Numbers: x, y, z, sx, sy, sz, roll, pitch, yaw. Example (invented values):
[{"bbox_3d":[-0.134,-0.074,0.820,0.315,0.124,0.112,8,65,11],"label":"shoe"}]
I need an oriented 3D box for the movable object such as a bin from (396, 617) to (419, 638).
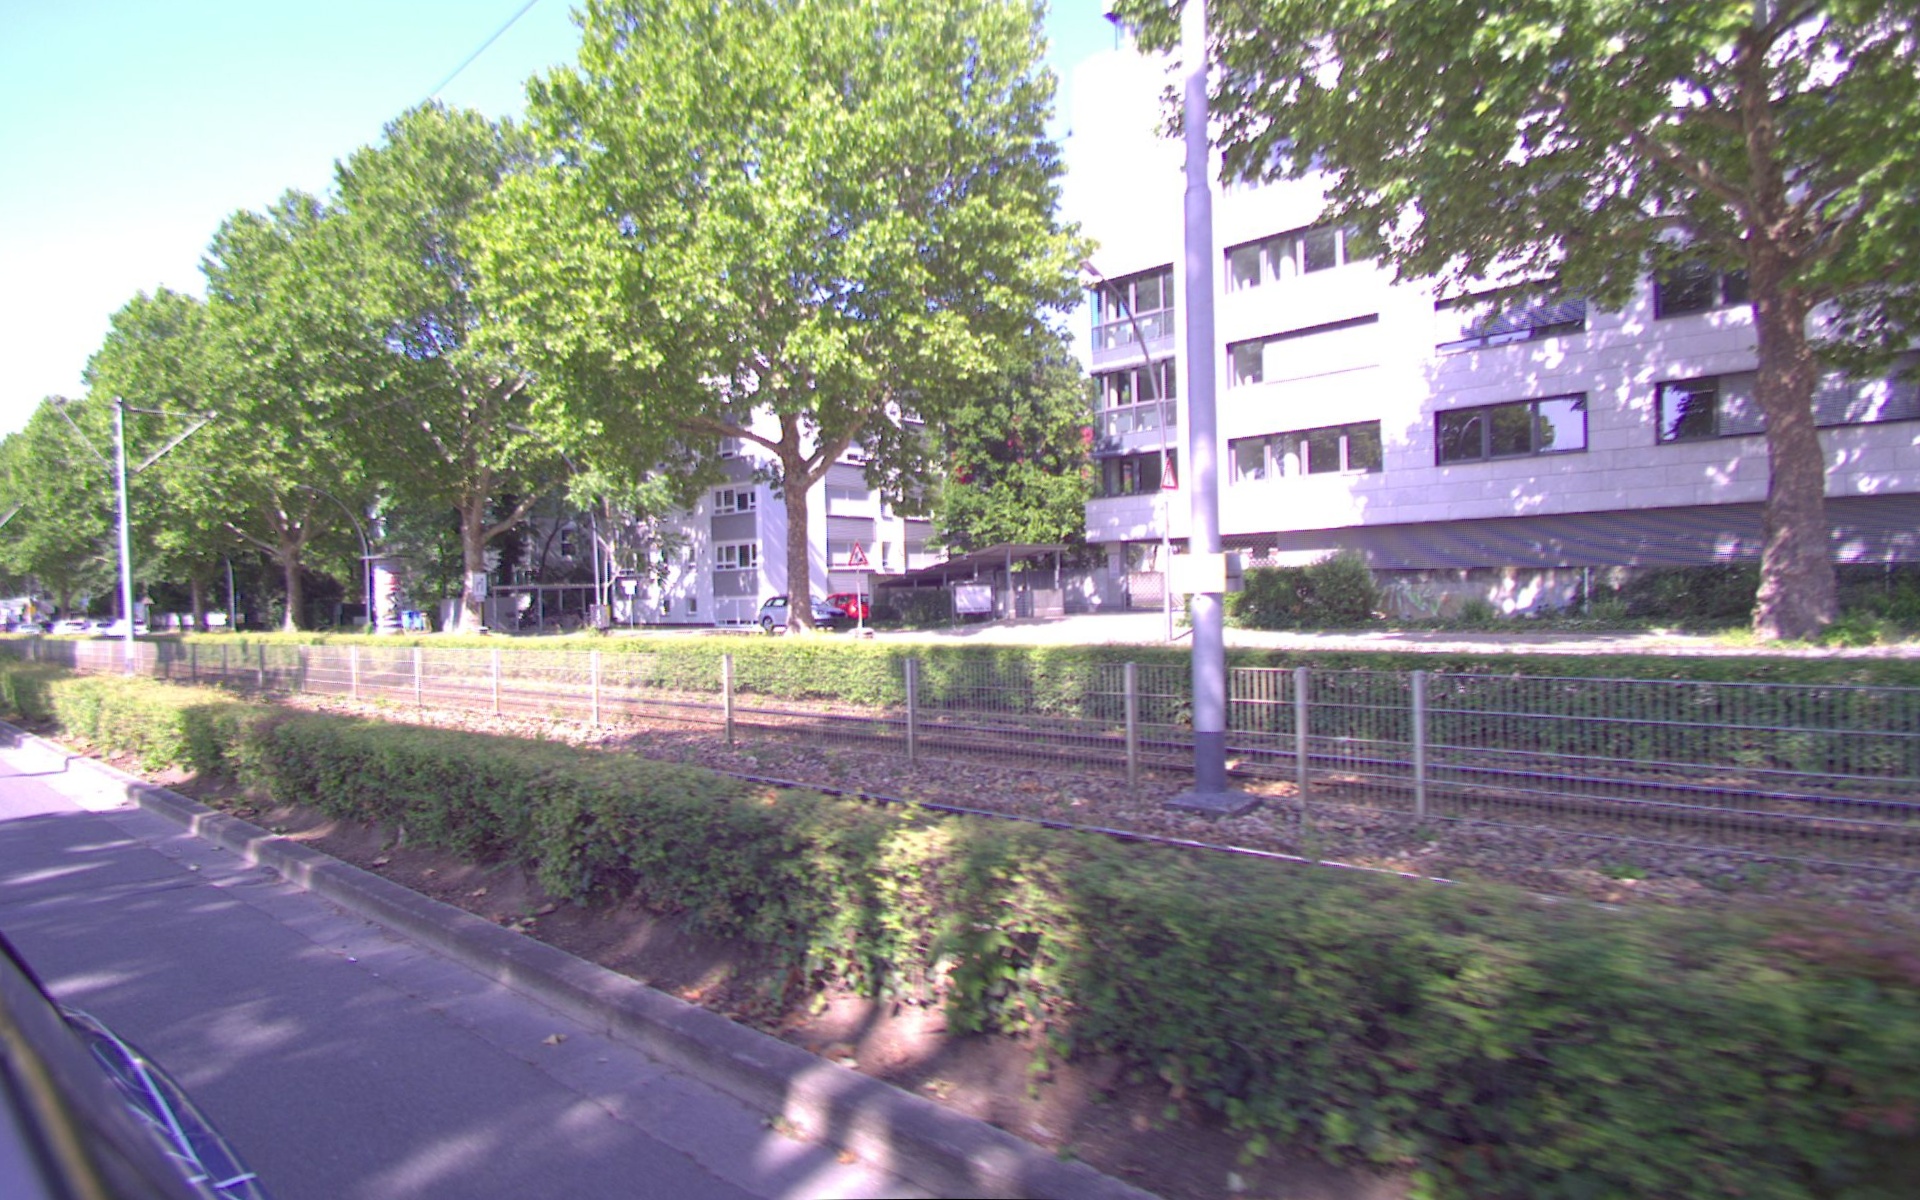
[{"bbox_3d":[-33.112,1.657,60.653,1.098,1.198,0.887,-2,0,40],"label":"movable object such as a bin"}]

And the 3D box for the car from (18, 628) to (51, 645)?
[{"bbox_3d":[-86.090,3.433,94.107,3.889,1.424,1.680,-2,2,40],"label":"car"}]

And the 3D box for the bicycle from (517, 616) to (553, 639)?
[{"bbox_3d":[-22.391,1.451,53.329,0.421,1.111,1.748,-2,0,39],"label":"bicycle"}]

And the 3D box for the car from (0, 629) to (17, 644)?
[{"bbox_3d":[-96.551,3.715,102.046,3.889,1.424,1.680,-2,2,40],"label":"car"}]

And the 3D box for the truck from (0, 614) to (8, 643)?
[{"bbox_3d":[-114.616,3.411,119.225,6.536,3.303,2.717,-2,0,40],"label":"truck"}]

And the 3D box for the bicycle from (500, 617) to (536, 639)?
[{"bbox_3d":[-23.878,1.497,54.645,0.421,1.111,1.748,-2,0,39],"label":"bicycle"}]

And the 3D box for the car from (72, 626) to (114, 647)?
[{"bbox_3d":[-68.251,2.880,79.663,3.997,1.464,1.833,-2,0,40],"label":"car"}]

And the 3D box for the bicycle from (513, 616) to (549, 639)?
[{"bbox_3d":[-22.722,1.461,53.617,0.421,1.111,1.748,-2,0,39],"label":"bicycle"}]

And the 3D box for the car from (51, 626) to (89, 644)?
[{"bbox_3d":[-76.698,3.032,87.201,3.997,1.464,1.837,-2,0,40],"label":"car"}]

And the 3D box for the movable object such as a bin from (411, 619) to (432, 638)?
[{"bbox_3d":[-31.562,1.665,59.322,0.545,1.044,0.887,-2,0,40],"label":"movable object such as a bin"}]

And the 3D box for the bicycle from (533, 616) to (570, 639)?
[{"bbox_3d":[-21.199,1.413,52.506,0.421,1.111,1.748,-2,0,39],"label":"bicycle"}]

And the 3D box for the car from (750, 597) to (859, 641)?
[{"bbox_3d":[-6.126,0.748,39.556,4.345,1.561,1.725,-2,0,40],"label":"car"}]

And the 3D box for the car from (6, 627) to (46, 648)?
[{"bbox_3d":[-74.169,2.972,80.341,3.997,1.464,1.837,-2,0,40],"label":"car"}]

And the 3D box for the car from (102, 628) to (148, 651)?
[{"bbox_3d":[-58.088,2.754,70.362,3.909,1.502,1.797,-2,-2,40],"label":"car"}]

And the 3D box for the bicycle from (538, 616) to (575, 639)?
[{"bbox_3d":[-20.814,1.401,52.191,0.421,1.111,1.748,-2,0,39],"label":"bicycle"}]

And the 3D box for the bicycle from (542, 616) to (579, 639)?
[{"bbox_3d":[-20.463,1.390,51.889,0.421,1.111,1.748,-2,0,39],"label":"bicycle"}]

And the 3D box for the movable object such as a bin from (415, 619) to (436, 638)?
[{"bbox_3d":[-31.138,1.652,58.948,0.545,1.044,0.887,-2,0,40],"label":"movable object such as a bin"}]

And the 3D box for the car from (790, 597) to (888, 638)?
[{"bbox_3d":[-5.014,0.748,41.779,3.997,1.561,1.725,-2,0,40],"label":"car"}]

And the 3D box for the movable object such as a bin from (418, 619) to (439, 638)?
[{"bbox_3d":[-30.759,1.640,58.537,0.545,1.044,0.887,-2,0,40],"label":"movable object such as a bin"}]

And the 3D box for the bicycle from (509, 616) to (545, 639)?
[{"bbox_3d":[-23.052,1.472,53.941,0.421,1.111,1.748,-2,0,39],"label":"bicycle"}]

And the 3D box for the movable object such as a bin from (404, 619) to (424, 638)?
[{"bbox_3d":[-32.437,1.692,60.100,0.545,1.044,0.887,-2,0,40],"label":"movable object such as a bin"}]

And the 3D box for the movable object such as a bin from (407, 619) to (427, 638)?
[{"bbox_3d":[-32.029,1.679,59.707,0.545,1.044,0.887,-2,0,40],"label":"movable object such as a bin"}]
